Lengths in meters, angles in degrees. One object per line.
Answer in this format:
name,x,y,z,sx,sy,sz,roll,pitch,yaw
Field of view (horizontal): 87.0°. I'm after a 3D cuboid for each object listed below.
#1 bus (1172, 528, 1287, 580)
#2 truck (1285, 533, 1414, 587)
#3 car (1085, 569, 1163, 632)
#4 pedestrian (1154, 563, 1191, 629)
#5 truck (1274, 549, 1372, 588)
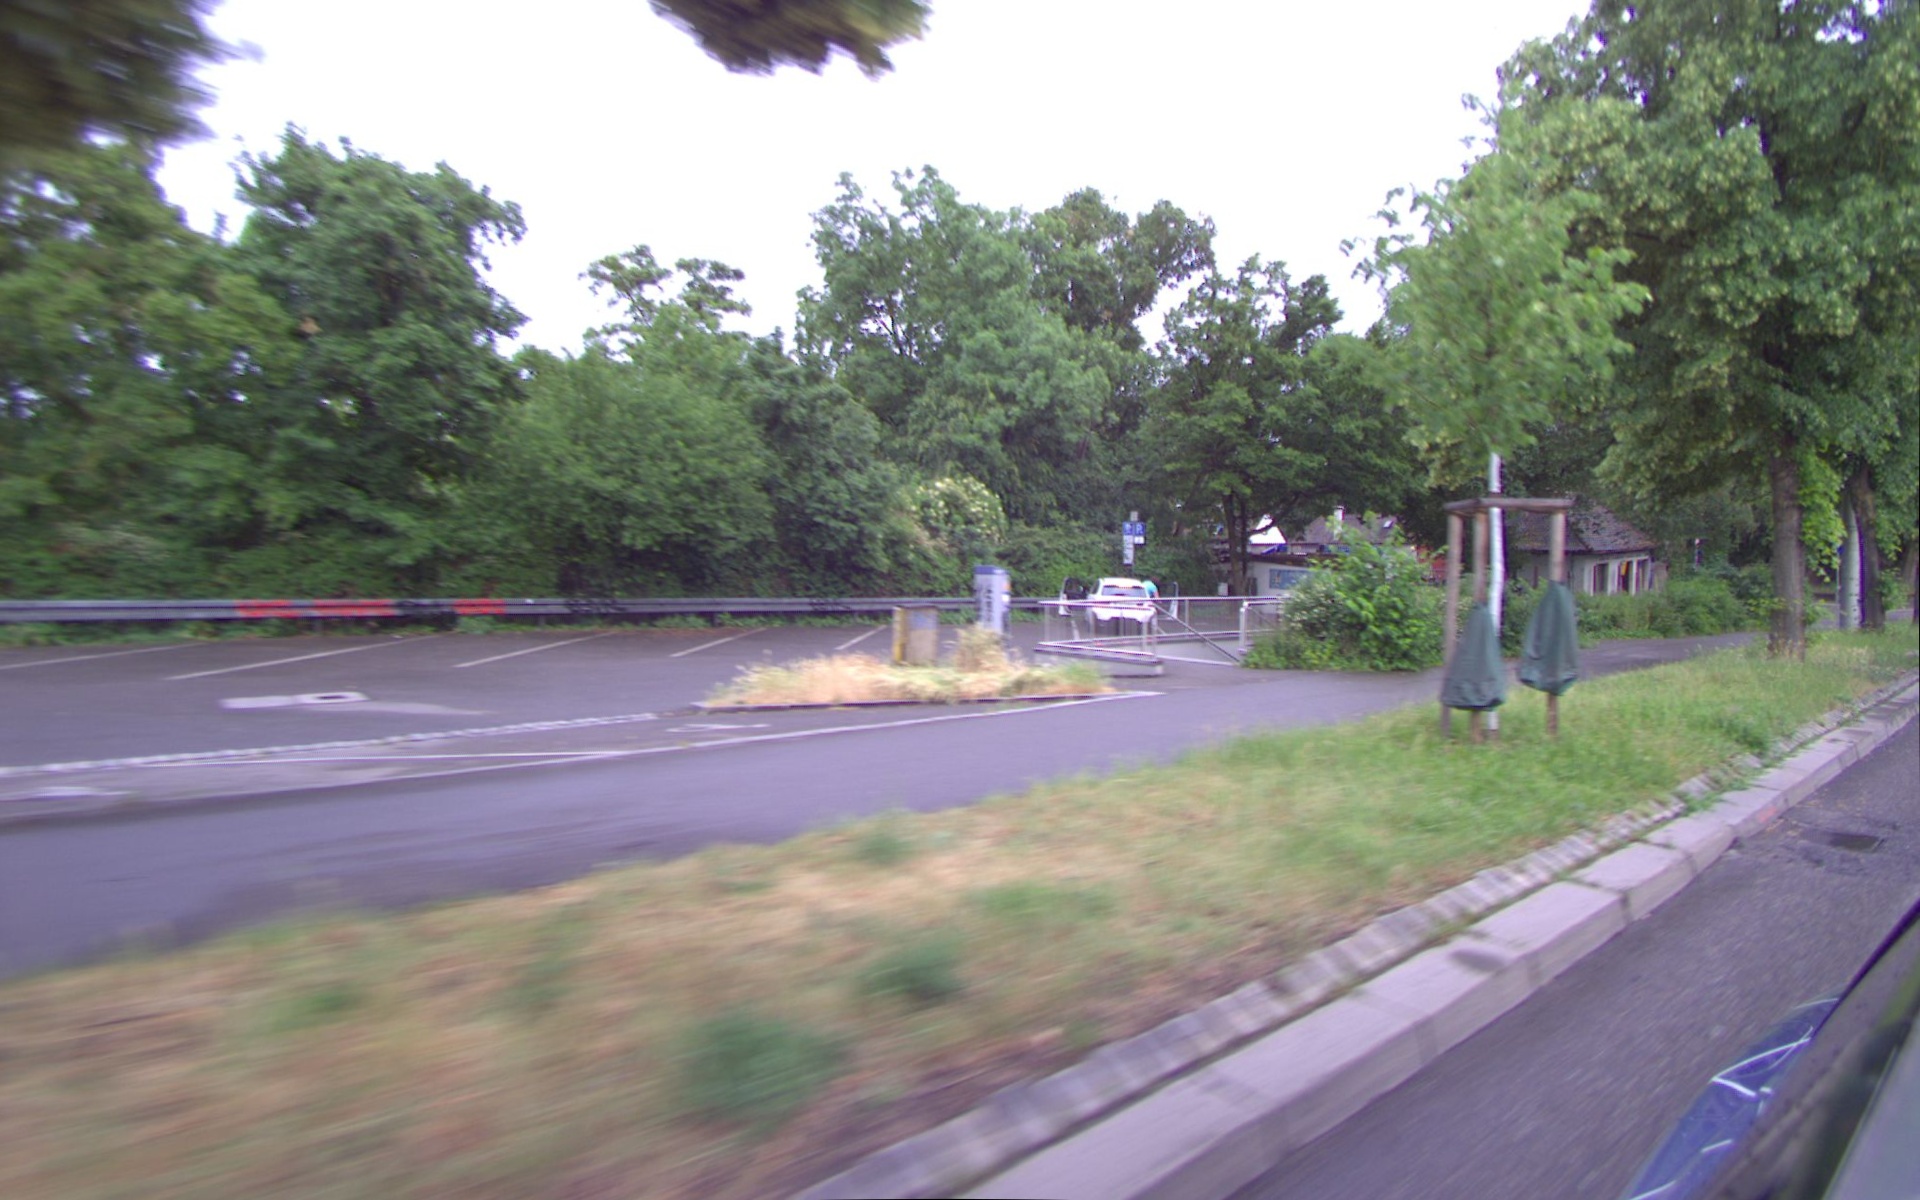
bus,14.858,-2.480,55.481,7.036,2.734,2.258,-1,2,-38
truck,21.526,-2.172,56.045,6.470,2.903,2.064,0,2,-9
car,4.514,-0.065,28.292,1.966,1.599,4.642,0,2,8
pedestrian,6.012,-0.129,28.632,0.881,1.792,0.942,2,3,7
truck,23.030,-1.952,64.371,2.186,2.208,5.395,-1,-1,-45
